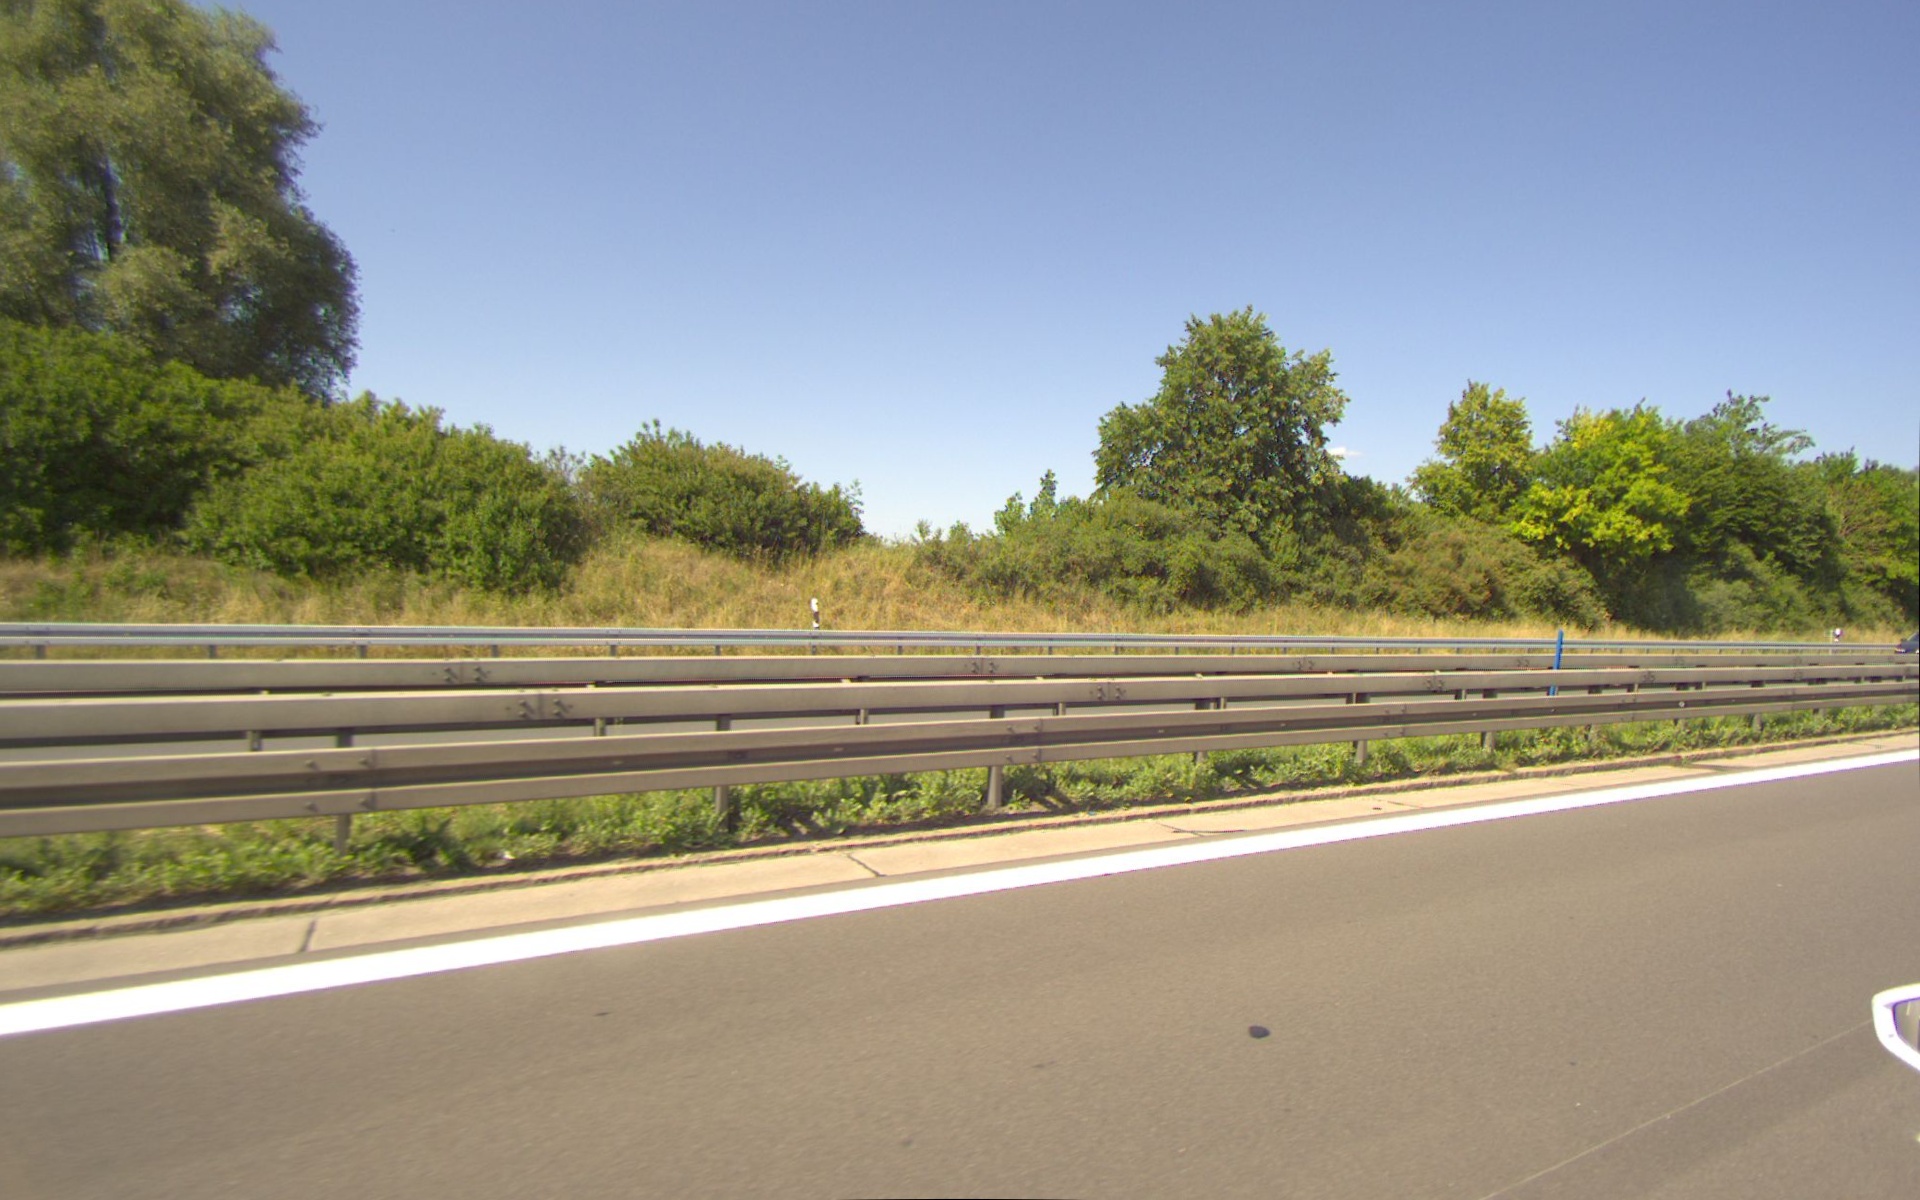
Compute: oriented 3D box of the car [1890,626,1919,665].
[{"bbox_3d":[38.947,1.820,40.176,4.107,1.481,1.569,2,1,-33],"label":"car"}]
